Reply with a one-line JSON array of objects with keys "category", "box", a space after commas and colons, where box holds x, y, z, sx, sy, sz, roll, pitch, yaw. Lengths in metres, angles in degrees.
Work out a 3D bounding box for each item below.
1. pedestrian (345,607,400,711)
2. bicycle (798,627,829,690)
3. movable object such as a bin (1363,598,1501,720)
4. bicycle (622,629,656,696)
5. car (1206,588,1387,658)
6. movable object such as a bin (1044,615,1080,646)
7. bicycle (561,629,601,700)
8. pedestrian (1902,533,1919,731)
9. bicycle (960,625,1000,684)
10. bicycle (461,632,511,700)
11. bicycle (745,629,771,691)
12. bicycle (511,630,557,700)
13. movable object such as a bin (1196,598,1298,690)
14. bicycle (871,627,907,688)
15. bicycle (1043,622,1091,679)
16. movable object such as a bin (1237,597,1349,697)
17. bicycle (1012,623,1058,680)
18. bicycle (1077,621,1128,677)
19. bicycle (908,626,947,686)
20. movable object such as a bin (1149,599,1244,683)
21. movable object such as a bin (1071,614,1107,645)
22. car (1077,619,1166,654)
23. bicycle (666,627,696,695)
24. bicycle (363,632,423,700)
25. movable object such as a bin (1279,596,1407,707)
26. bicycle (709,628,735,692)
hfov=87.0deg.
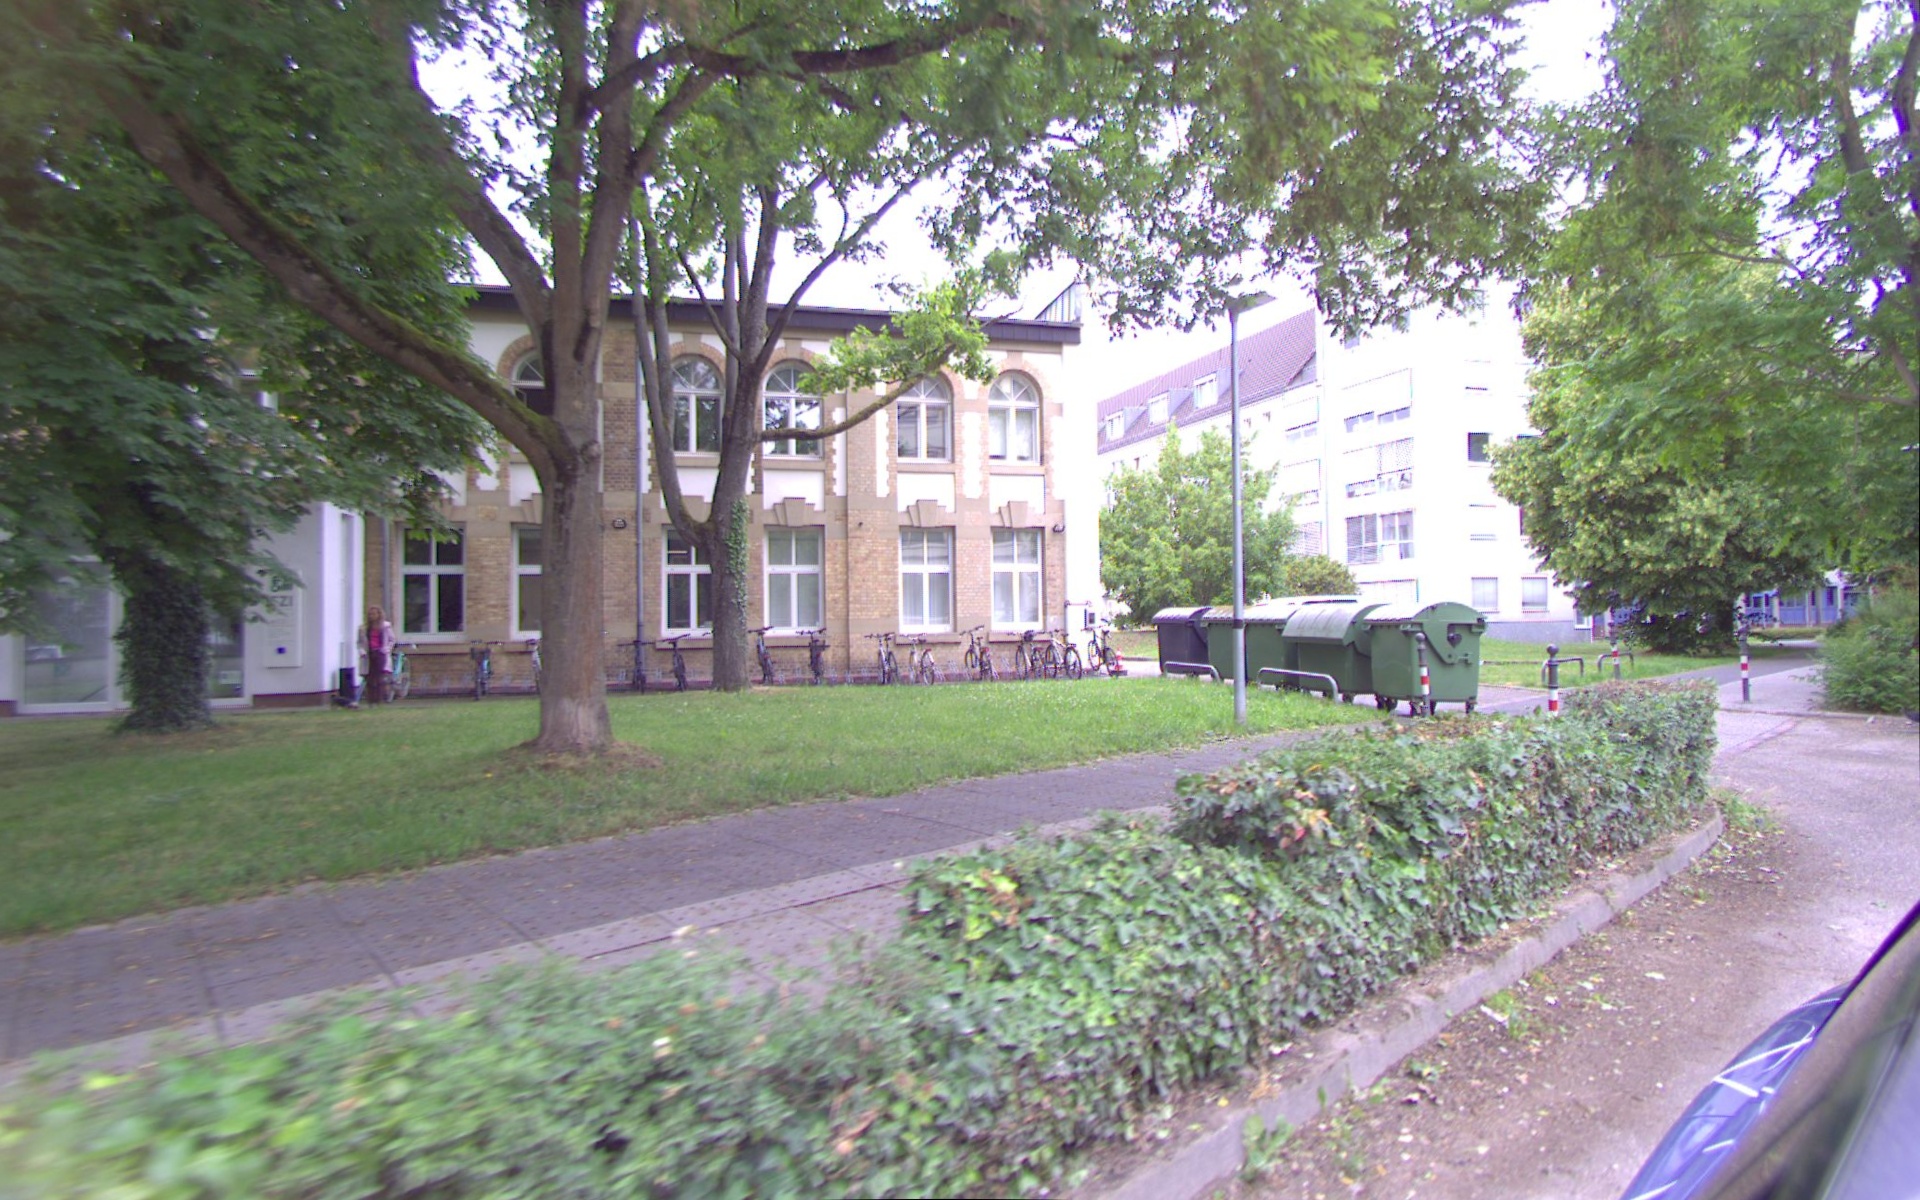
[{"category": "pedestrian", "box": [-9.350, 0.925, 16.121, 0.614, 1.607, 0.605, 0, -1, -15]}, {"category": "bicycle", "box": [-2.881, 1.116, 19.799, 0.451, 1.129, 1.748, 0, -1, -13]}, {"category": "movable object such as a bin", "box": [5.970, 0.717, 12.891, 1.050, 1.452, 1.276, -1, -1, -5]}, {"category": "bicycle", "box": [-6.011, 1.145, 19.013, 0.451, 1.129, 1.748, 0, 0, -13]}, {"category": "car", "box": [9.855, 0.676, 29.779, 4.673, 1.898, 1.904, -1, -3, -13]}, {"category": "movable object such as a bin", "box": [4.453, 1.328, 44.400, 1.156, 1.324, 1.230, -1, -2, -16]}, {"category": "bicycle", "box": [-6.987, 1.165, 18.704, 0.451, 1.128, 1.748, 0, 2, -13]}, {"category": "pedestrian", "box": [10.787, 0.330, 10.623, 1.176, 2.091, 0.796, 0, -1, -18]}, {"category": "bicycle", "box": [0.385, 1.078, 20.659, 0.451, 1.129, 1.747, 0, -1, -11]}, {"category": "bicycle", "box": [-8.549, 1.165, 18.290, 0.451, 1.129, 1.747, 0, -1, -13]}, {"category": "bicycle", "box": [-3.903, 1.130, 19.530, 0.451, 1.129, 1.747, 0, -1, -13]}, {"category": "bicycle", "box": [-7.775, 1.157, 18.521, 0.451, 1.128, 1.748, 0, 1, -13]}, {"category": "movable object such as a bin", "box": [4.856, 0.724, 17.203, 1.085, 1.469, 1.329, -1, -1, -17]}, {"category": "bicycle", "box": [-1.435, 1.118, 20.211, 0.451, 1.129, 1.747, 0, -1, -13]}, {"category": "bicycle", "box": [2.217, 1.037, 21.213, 0.451, 1.129, 1.747, 0, -1, -13]}, {"category": "movable object such as a bin", "box": [5.177, 0.714, 15.819, 1.085, 1.469, 1.297, -1, -1, -17]}, {"category": "bicycle", "box": [1.528, 1.042, 20.977, 0.451, 1.129, 1.747, 0, -1, -13]}, {"category": "bicycle", "box": [3.004, 1.011, 21.441, 0.451, 1.129, 1.747, 0, -1, -13]}, {"category": "bicycle", "box": [-0.663, 1.100, 20.380, 0.451, 1.129, 1.747, 0, -1, -13]}, {"category": "movable object such as a bin", "box": [4.327, 0.735, 18.595, 1.085, 1.469, 1.365, -1, -1, -20]}, {"category": "movable object such as a bin", "box": [5.714, 1.308, 44.768, 1.156, 1.324, 1.230, -1, -2, -16]}, {"category": "car", "box": [8.657, 1.948, 54.367, 4.250, 1.757, 2.004, 0, -1, -20]}, {"category": "bicycle", "box": [-5.254, 1.117, 19.094, 0.451, 1.128, 1.748, 0, 1, -13]}, {"category": "bicycle", "box": [-10.129, 1.152, 18.136, 0.451, 1.129, 1.747, 0, -1, -13]}, {"category": "movable object such as a bin", "box": [5.389, 0.706, 14.317, 1.085, 1.469, 1.288, -1, -1, -17]}, {"category": "bicycle", "box": [-4.531, 1.112, 19.292, 0.451, 1.129, 1.747, 0, -1, -13]}]
